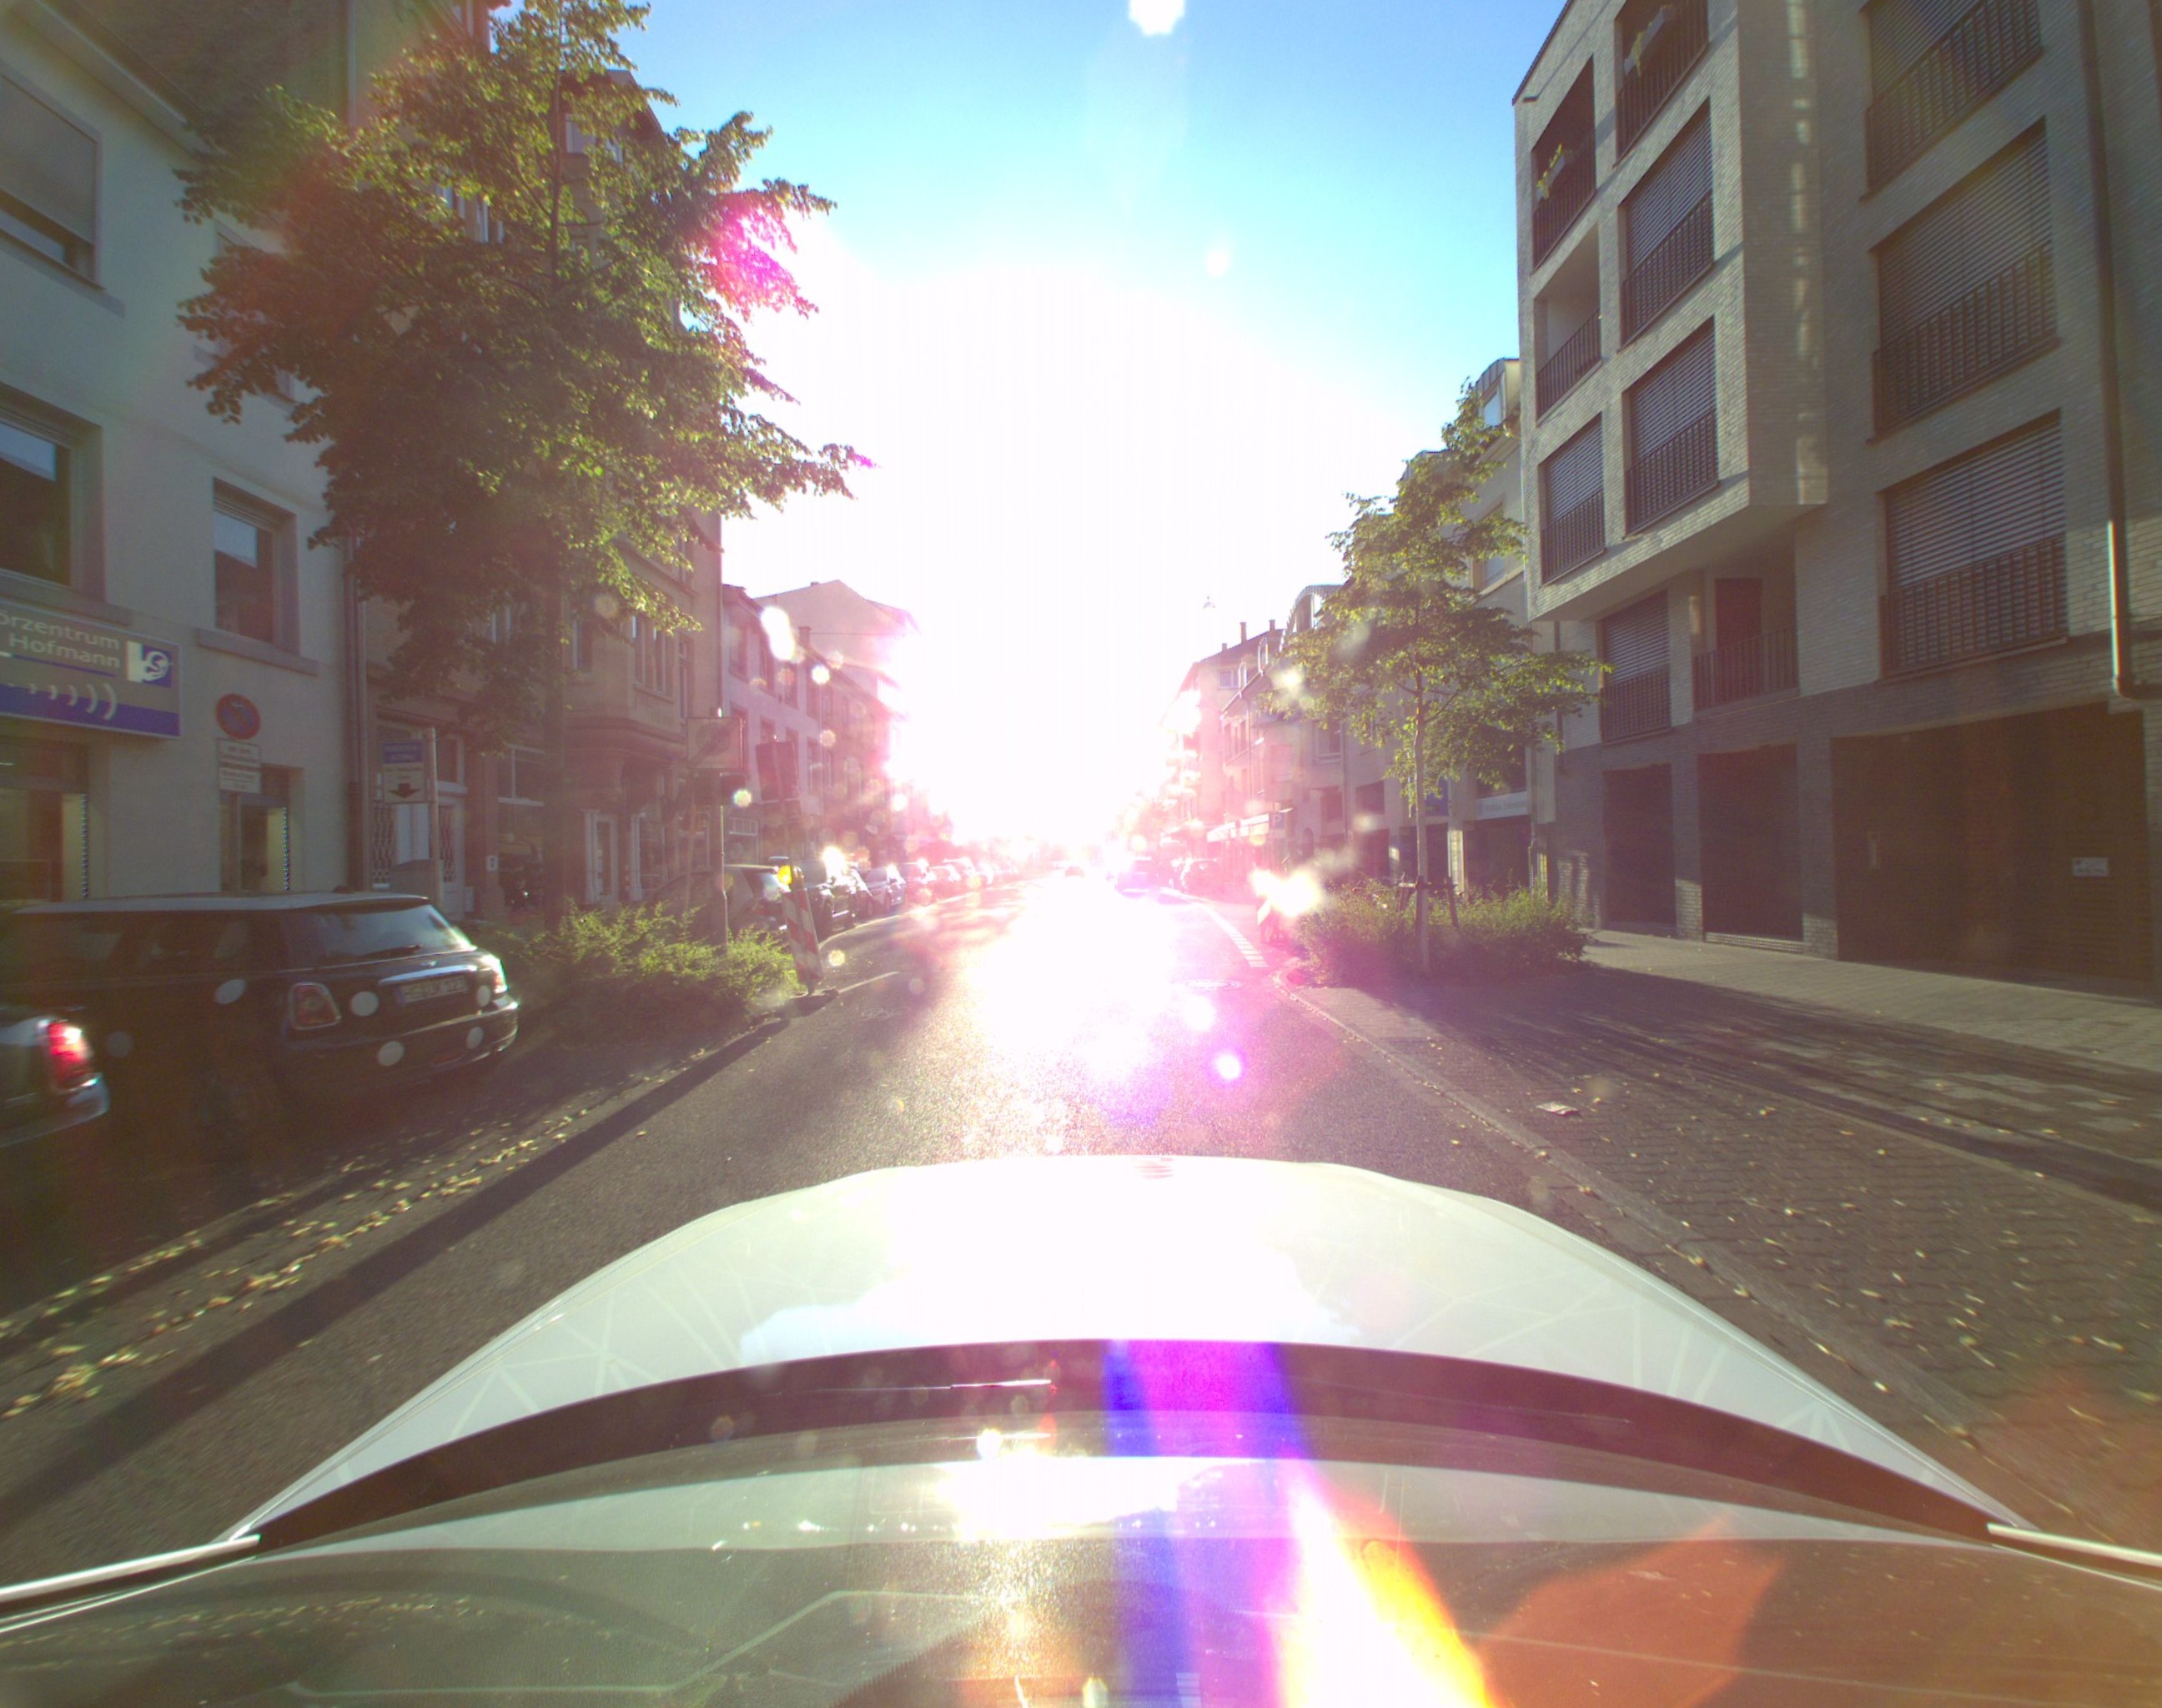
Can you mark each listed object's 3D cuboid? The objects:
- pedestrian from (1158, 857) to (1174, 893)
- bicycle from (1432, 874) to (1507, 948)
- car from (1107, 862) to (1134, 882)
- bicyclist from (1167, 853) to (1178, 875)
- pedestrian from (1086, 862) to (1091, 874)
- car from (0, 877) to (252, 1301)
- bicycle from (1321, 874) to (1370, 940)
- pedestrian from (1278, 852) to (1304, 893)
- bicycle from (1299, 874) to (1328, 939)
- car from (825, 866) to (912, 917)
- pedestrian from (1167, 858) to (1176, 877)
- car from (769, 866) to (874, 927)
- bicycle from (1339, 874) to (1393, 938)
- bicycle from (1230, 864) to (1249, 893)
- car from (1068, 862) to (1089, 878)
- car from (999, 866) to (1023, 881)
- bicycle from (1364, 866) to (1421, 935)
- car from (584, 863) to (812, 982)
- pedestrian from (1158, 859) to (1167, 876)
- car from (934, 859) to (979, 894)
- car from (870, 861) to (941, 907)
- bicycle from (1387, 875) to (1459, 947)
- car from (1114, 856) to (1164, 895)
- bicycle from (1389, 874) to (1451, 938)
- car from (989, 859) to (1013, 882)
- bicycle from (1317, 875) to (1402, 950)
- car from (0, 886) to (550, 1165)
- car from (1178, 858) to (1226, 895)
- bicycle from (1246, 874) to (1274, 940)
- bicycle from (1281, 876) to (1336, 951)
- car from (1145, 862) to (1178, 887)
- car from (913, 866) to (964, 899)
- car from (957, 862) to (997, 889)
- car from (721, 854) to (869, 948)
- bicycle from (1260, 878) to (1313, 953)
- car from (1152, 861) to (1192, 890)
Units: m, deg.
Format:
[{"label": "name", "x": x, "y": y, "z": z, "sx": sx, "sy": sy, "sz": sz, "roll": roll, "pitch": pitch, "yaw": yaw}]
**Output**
[{"label": "pedestrian", "x": 3.923, "y": 0.971, "z": 37.556, "sx": 0.444, "sy": 1.665, "sz": 0.561, "roll": -2, "pitch": -1, "yaw": -25}, {"label": "bicycle", "x": 6.281, "y": 0.888, "z": 13.250, "sx": 0.381, "sy": 1.100, "sz": 1.521, "roll": -2, "pitch": -1, "yaw": -4}, {"label": "car", "x": 2.993, "y": 1.346, "z": 62.643, "sx": 1.915, "sy": 1.415, "sz": 4.547, "roll": 1, "pitch": -1, "yaw": 0}, {"label": "bicyclist", "x": 7.370, "y": 0.816, "z": 65.464, "sx": 0.649, "sy": 1.702, "sz": 1.094, "roll": -1, "pitch": -1, "yaw": -2}, {"label": "pedestrian", "x": 1.062, "y": 2.012, "z": 114.584, "sx": 0.496, "sy": 1.715, "sz": 0.459, "roll": -1, "pitch": 0, "yaw": -20}, {"label": "car", "x": -5.874, "y": 0.894, "z": 2.917, "sx": 3.880, "sy": 1.517, "sz": 1.857, "roll": -1, "pitch": 0, "yaw": 0}, {"label": "bicycle", "x": 4.781, "y": 0.934, "z": 14.790, "sx": 0.380, "sy": 1.100, "sz": 1.565, "roll": -2, "pitch": -1, "yaw": 1}, {"label": "pedestrian", "x": 8.556, "y": 0.757, "z": 33.246, "sx": 0.808, "sy": 1.646, "sz": 0.606, "roll": -3, "pitch": -2, "yaw": 0}, {"label": "bicycle", "x": 4.291, "y": 0.944, "z": 15.056, "sx": 0.368, "sy": 1.108, "sz": 1.528, "roll": -2, "pitch": -1, "yaw": 12}, {"label": "car", "x": -6.974, "y": 1.194, "z": 27.103, "sx": 1.768, "sy": 1.515, "sz": 3.950, "roll": -1, "pitch": 0, "yaw": 1}, {"label": "pedestrian", "x": 8.399, "y": 1.268, "z": 75.620, "sx": 0.684, "sy": 1.721, "sz": 0.718, "roll": -2, "pitch": -1, "yaw": 6}, {"label": "car", "x": -7.110, "y": 1.121, "z": 22.672, "sx": 1.768, "sy": 1.515, "sz": 3.484, "roll": -1, "pitch": -1, "yaw": 1}, {"label": "bicycle", "x": 5.277, "y": 0.937, "z": 15.155, "sx": 0.381, "sy": 1.100, "sz": 1.521, "roll": -1, "pitch": -1, "yaw": -3}, {"label": "bicycle", "x": 7.008, "y": 1.070, "z": 36.047, "sx": 0.396, "sy": 1.234, "sz": 1.824, "roll": -2, "pitch": 0, "yaw": -2}, {"label": "car", "x": -0.206, "y": 1.436, "z": 75.077, "sx": 1.877, "sy": 1.415, "sz": 4.324, "roll": -1, "pitch": -1, "yaw": 0}, {"label": "car", "x": -6.395, "y": 1.761, "z": 74.904, "sx": 1.827, "sy": 1.328, "sz": 4.122, "roll": -1, "pitch": 0, "yaw": -1}, {"label": "bicycle", "x": 5.714, "y": 0.823, "z": 15.014, "sx": 0.381, "sy": 1.189, "sz": 1.521, "roll": 0, "pitch": -1, "yaw": -4}, {"label": "car", "x": -5.796, "y": 0.992, "z": 12.586, "sx": 2.688, "sy": 1.520, "sz": 1.570, "roll": -3, "pitch": 1, "yaw": -4}, {"label": "pedestrian", "x": 7.585, "y": 1.261, "z": 75.834, "sx": 0.686, "sy": 1.559, "sz": 0.862, "roll": -2, "pitch": -1, "yaw": 0}, {"label": "car", "x": -7.087, "y": 1.242, "z": 46.785, "sx": 1.822, "sy": 1.810, "sz": 5.344, "roll": -3, "pitch": 0, "yaw": -2}, {"label": "car", "x": -6.718, "y": 1.124, "z": 31.671, "sx": 1.768, "sy": 1.633, "sz": 4.238, "roll": -1, "pitch": 0, "yaw": 1}, {"label": "bicycle", "x": 5.683, "y": 0.911, "z": 13.598, "sx": 0.381, "sy": 1.100, "sz": 1.519, "roll": -2, "pitch": -1, "yaw": -7}, {"label": "car", "x": 2.625, "y": 0.964, "z": 37.815, "sx": 1.988, "sy": 1.655, "sz": 4.673, "roll": 0, "pitch": -1, "yaw": 0}, {"label": "bicycle", "x": 6.155, "y": 0.920, "z": 14.860, "sx": 0.381, "sy": 1.100, "sz": 1.521, "roll": -2, "pitch": -1, "yaw": -4}, {"label": "car", "x": -6.693, "y": 1.386, "z": 68.490, "sx": 1.829, "sy": 1.854, "sz": 4.118, "roll": -1, "pitch": -1, "yaw": -3}, {"label": "bicycle", "x": 4.421, "y": 0.899, "z": 13.014, "sx": 0.383, "sy": 1.100, "sz": 1.512, "roll": -1, "pitch": -1, "yaw": -21}, {"label": "car", "x": -5.623, "y": 0.956, "z": 5.163, "sx": 3.383, "sy": 1.392, "sz": 1.687, "roll": -1, "pitch": 0, "yaw": 2}, {"label": "car", "x": 5.429, "y": 0.985, "z": 36.842, "sx": 1.629, "sy": 1.553, "sz": 2.692, "roll": -2, "pitch": 0, "yaw": -3}, {"label": "bicycle", "x": 3.314, "y": 0.963, "z": 15.159, "sx": 0.360, "sy": 1.141, "sz": 1.569, "roll": -2, "pitch": -1, "yaw": 8}, {"label": "bicycle", "x": 3.739, "y": 0.949, "z": 13.475, "sx": 0.381, "sy": 1.100, "sz": 1.521, "roll": -2, "pitch": 0, "yaw": -3}, {"label": "car", "x": 5.057, "y": 1.246, "z": 51.422, "sx": 1.697, "sy": 1.436, "sz": 3.931, "roll": -2, "pitch": -1, "yaw": 0}, {"label": "car", "x": -6.982, "y": 1.378, "z": 40.254, "sx": 1.707, "sy": 1.440, "sz": 4.309, "roll": -3, "pitch": 0, "yaw": 0}, {"label": "car", "x": -6.764, "y": 1.386, "z": 53.416, "sx": 1.821, "sy": 1.556, "sz": 5.136, "roll": -3, "pitch": 0, "yaw": 1}, {"label": "car", "x": -6.143, "y": 0.944, "z": 18.120, "sx": 1.901, "sy": 1.728, "sz": 4.694, "roll": -3, "pitch": -1, "yaw": -5}, {"label": "bicycle", "x": 3.308, "y": 0.960, "z": 13.206, "sx": 0.381, "sy": 1.100, "sz": 1.521, "roll": -2, "pitch": -1, "yaw": -3}, {"label": "car", "x": 4.826, "y": 1.127, "z": 43.644, "sx": 1.628, "sy": 1.424, "sz": 3.756, "roll": -2, "pitch": -1, "yaw": -1}]
